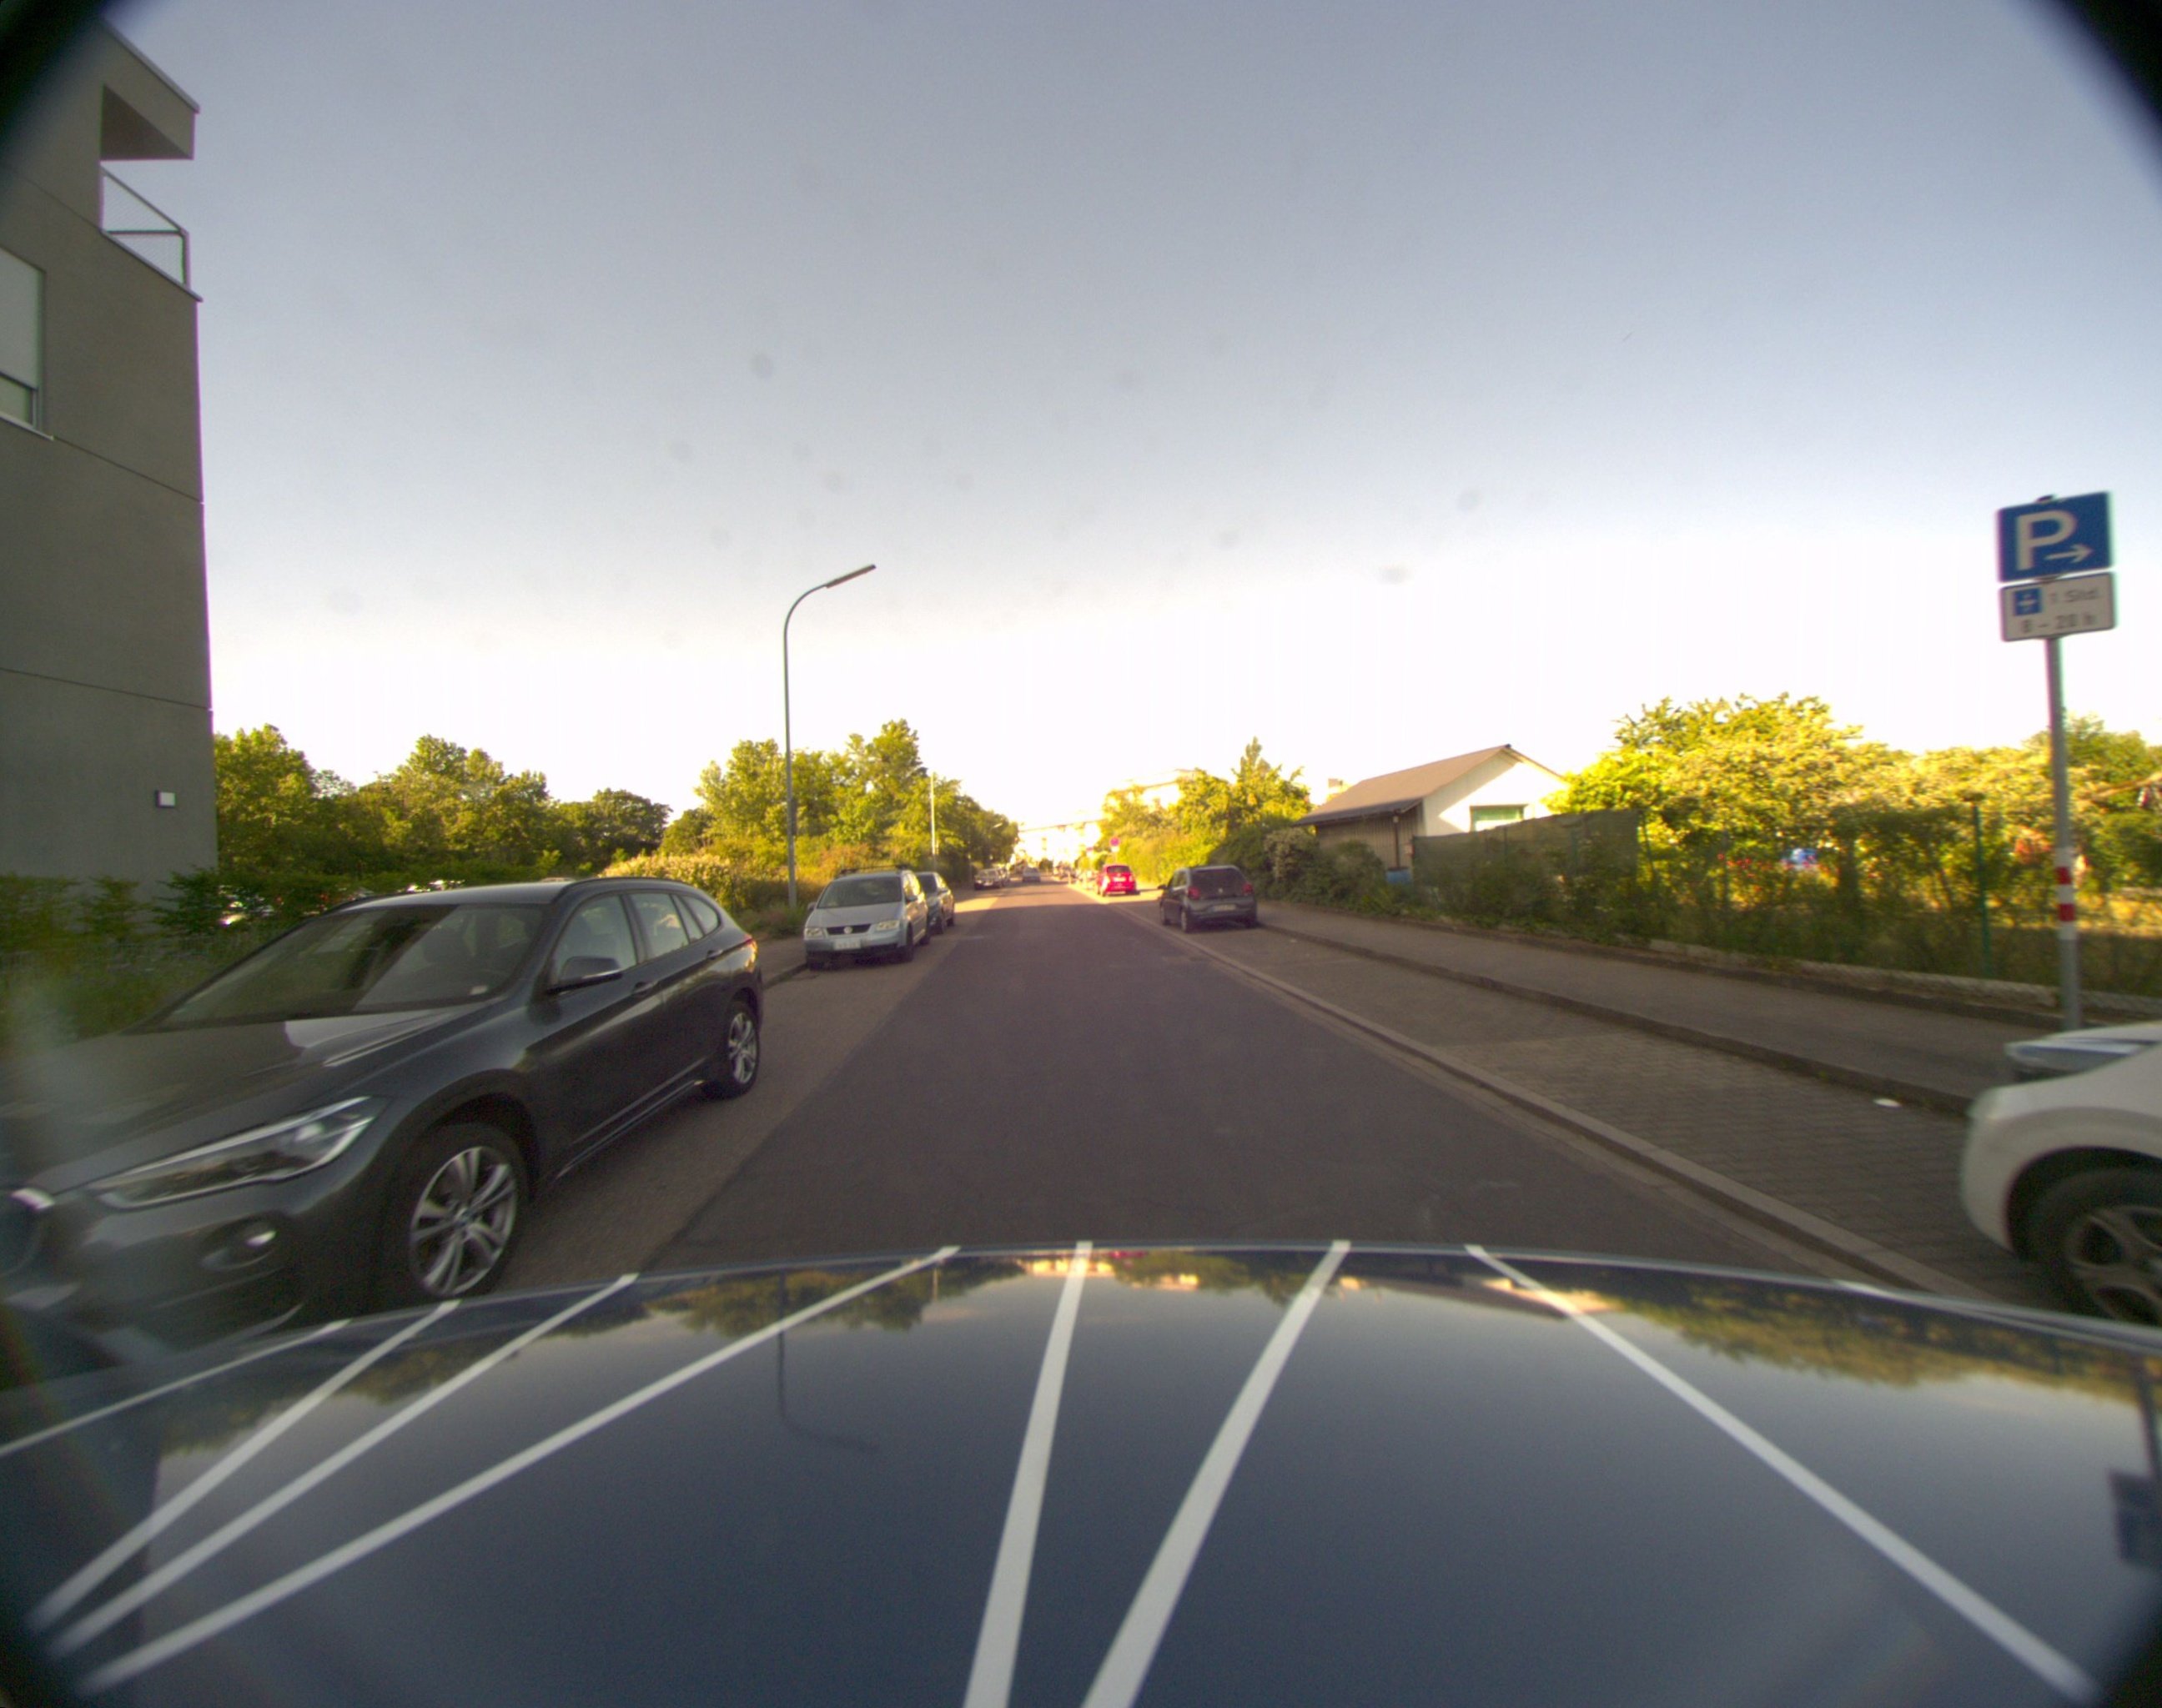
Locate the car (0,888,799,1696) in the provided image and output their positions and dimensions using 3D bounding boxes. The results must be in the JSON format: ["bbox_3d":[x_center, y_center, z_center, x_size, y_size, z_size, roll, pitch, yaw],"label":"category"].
[{"bbox_3d":[-3.235,1.102,3.998,1.749,1.557,4.802,-4,0,-2],"label":"car"}]

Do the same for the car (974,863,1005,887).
[{"bbox_3d":[-6.499,1.480,54.521,1.874,1.517,4.154,-3,0,-3],"label":"car"}]

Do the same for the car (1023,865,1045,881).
[{"bbox_3d":[-4.591,1.819,73.937,1.680,1.440,3.997,-2,0,-9],"label":"car"}]

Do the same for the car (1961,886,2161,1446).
[{"bbox_3d":[3.758,0.825,0.820,1.532,1.479,3.401,-2,0,-4],"label":"car"}]

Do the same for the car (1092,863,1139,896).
[{"bbox_3d":[1.588,1.193,36.474,1.700,1.421,4.385,-2,0,-4],"label":"car"}]

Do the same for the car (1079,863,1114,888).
[{"bbox_3d":[0.865,1.240,45.507,1.700,1.361,3.909,-2,0,-4],"label":"car"}]

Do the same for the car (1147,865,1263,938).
[{"bbox_3d":[2.839,1.038,18.440,1.700,1.415,4.515,-4,0,-4],"label":"car"}]

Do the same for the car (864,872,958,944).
[{"bbox_3d":[-4.215,1.290,19.239,1.711,1.517,3.092,-4,0,-3],"label":"car"}]

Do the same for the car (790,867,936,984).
[{"bbox_3d":[-3.885,1.176,14.310,1.712,1.695,4.348,-4,0,-5],"label":"car"}]
